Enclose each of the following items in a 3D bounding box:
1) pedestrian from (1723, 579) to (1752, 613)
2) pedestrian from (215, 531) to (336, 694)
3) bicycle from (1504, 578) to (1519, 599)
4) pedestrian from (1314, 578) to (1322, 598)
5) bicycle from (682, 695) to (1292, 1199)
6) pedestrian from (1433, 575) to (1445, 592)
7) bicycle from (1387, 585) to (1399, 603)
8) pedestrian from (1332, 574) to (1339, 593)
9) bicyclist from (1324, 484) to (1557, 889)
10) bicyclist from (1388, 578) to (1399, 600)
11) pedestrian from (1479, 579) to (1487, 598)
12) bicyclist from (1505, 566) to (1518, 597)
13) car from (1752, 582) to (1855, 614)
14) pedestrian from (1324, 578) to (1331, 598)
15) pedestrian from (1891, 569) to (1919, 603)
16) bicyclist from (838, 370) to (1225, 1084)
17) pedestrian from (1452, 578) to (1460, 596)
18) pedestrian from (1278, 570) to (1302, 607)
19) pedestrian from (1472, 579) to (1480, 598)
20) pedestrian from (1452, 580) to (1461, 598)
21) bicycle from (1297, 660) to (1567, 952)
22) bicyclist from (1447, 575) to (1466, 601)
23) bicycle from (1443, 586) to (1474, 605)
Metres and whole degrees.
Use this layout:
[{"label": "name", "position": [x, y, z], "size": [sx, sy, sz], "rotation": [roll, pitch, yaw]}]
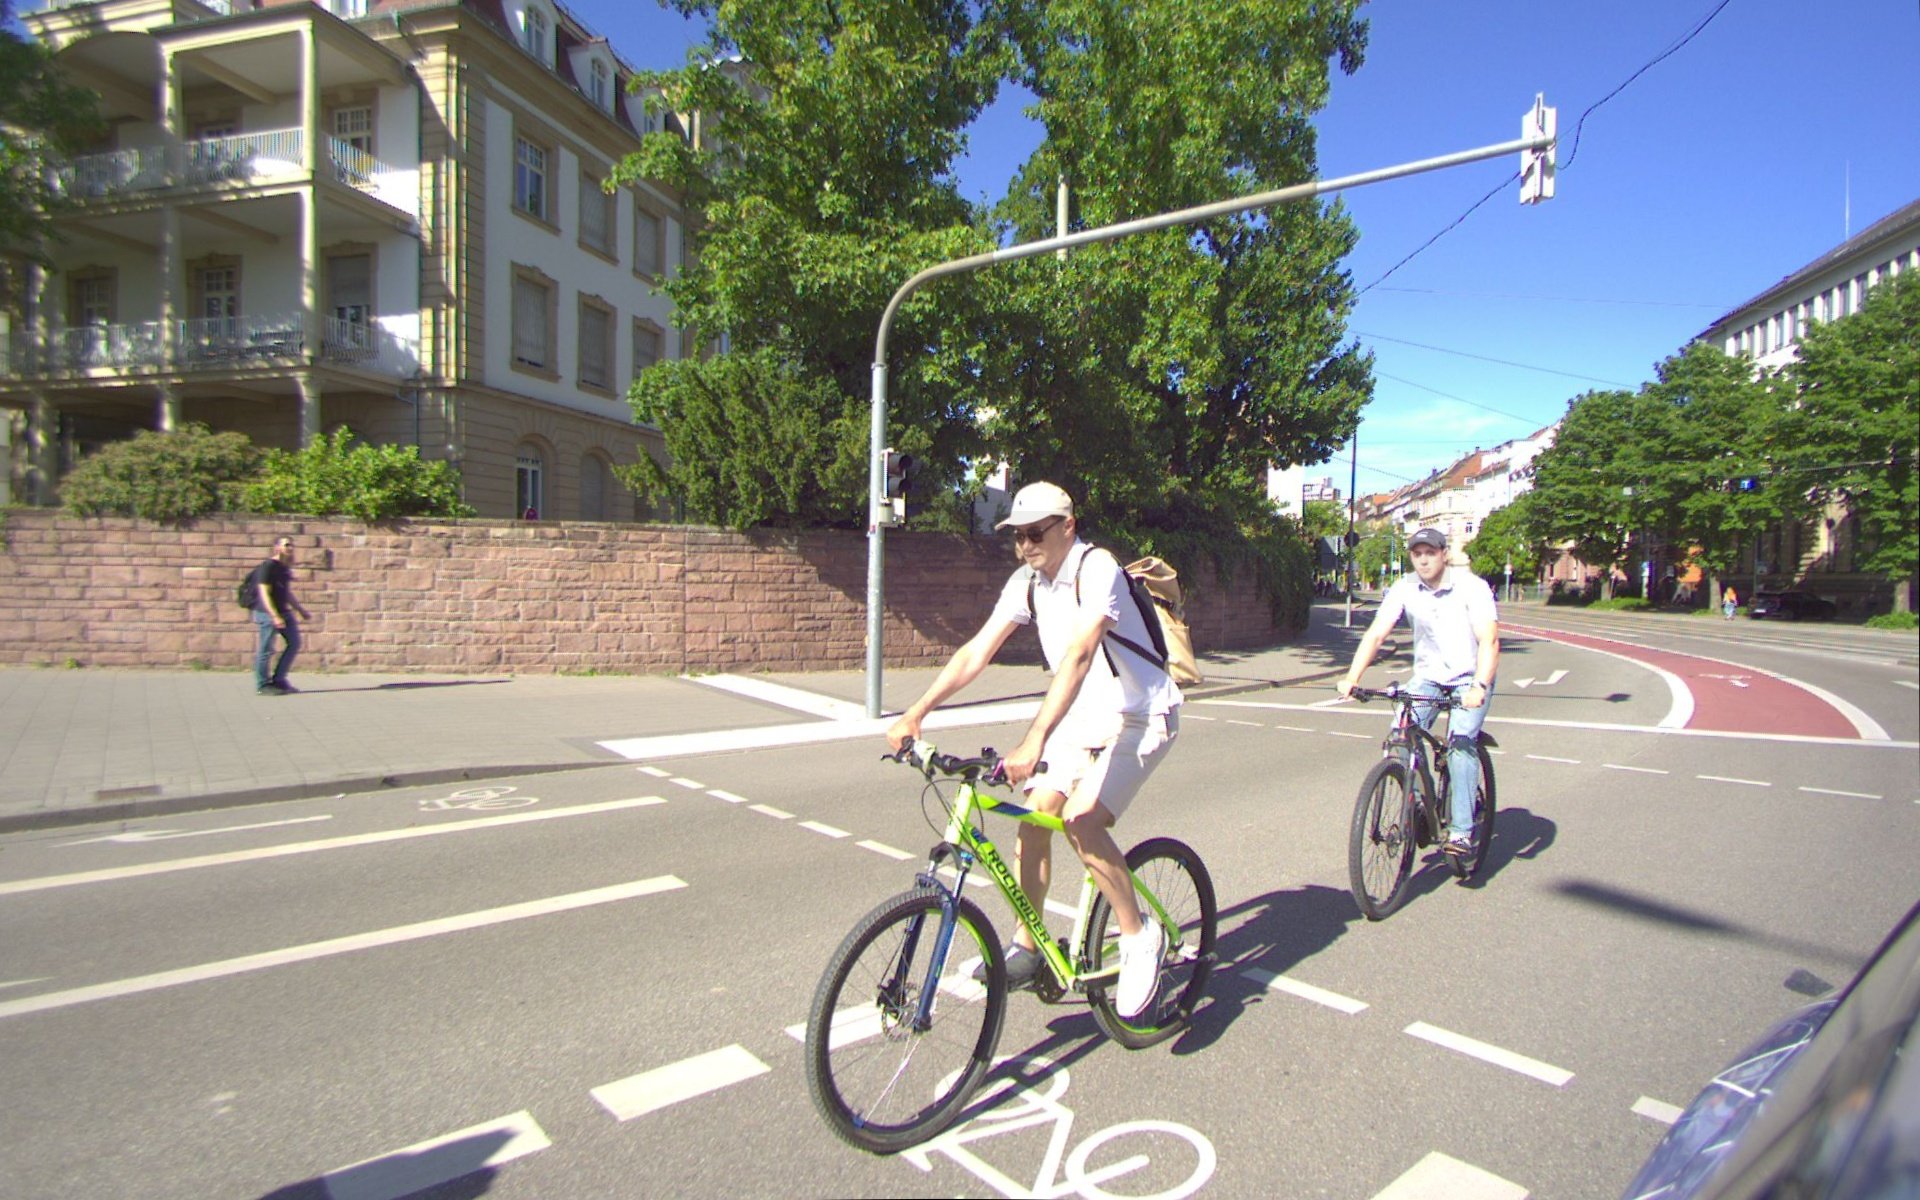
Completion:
[{"label": "pedestrian", "position": [40.641, -0.188, 52.926], "size": [0.760, 1.691, 1.030], "rotation": [3, -2, 11]}, {"label": "pedestrian", "position": [-8.146, 0.133, 12.086], "size": [1.027, 1.855, 0.762], "rotation": [1, 2, -19]}, {"label": "bicycle", "position": [53.636, -1.121, 98.393], "size": [0.996, 1.910, 3.850], "rotation": [0, 2, 32]}, {"label": "pedestrian", "position": [32.749, -1.136, 92.566], "size": [0.579, 1.828, 0.543], "rotation": [1, 1, 15]}, {"label": "bicycle", "position": [0.190, 0.903, 3.005], "size": [1.858, 1.060, 0.663], "rotation": [-1, 0, -42]}, {"label": "pedestrian", "position": [50.679, -1.749, 107.054], "size": [0.913, 1.760, 0.679], "rotation": [1, 1, -3]}, {"label": "bicycle", "position": [29.804, -0.432, 69.636], "size": [0.657, 1.166, 1.662], "rotation": [0, 2, 19]}, {"label": "pedestrian", "position": [34.187, -1.534, 92.169], "size": [0.579, 1.749, 0.518], "rotation": [1, 1, 15]}, {"label": "bicyclist", "position": [2.429, 0.372, 5.104], "size": [0.997, 1.798, 0.750], "rotation": [-1, 1, -43]}, {"label": "bicyclist", "position": [29.792, -0.768, 69.612], "size": [0.657, 1.479, 0.619], "rotation": [0, 1, 19]}, {"label": "pedestrian", "position": [52.868, -1.146, 102.243], "size": [0.571, 1.879, 0.681], "rotation": [1, 1, 16]}, {"label": "bicyclist", "position": [53.600, -1.826, 98.359], "size": [0.996, 3.012, 1.458], "rotation": [0, 2, 32]}, {"label": "car", "position": [43.272, -0.116, 51.964], "size": [4.024, 1.593, 1.925], "rotation": [0, 1, -12]}, {"label": "pedestrian", "position": [33.521, -1.125, 92.343], "size": [0.579, 1.828, 0.518], "rotation": [1, 1, 15]}, {"label": "pedestrian", "position": [45.663, -0.692, 48.815], "size": [0.662, 1.586, 0.856], "rotation": [-3, 1, 11]}, {"label": "bicyclist", "position": [0.231, 0.308, 3.088], "size": [0.988, 1.769, 0.664], "rotation": [0, 0, -41]}, {"label": "pedestrian", "position": [53.569, -1.417, 109.298], "size": [0.571, 1.879, 0.681], "rotation": [1, 1, 16]}, {"label": "pedestrian", "position": [15.947, -0.557, 48.975], "size": [0.927, 1.698, 0.950], "rotation": [3, 2, 14]}, {"label": "pedestrian", "position": [52.227, -1.142, 102.395], "size": [0.571, 1.879, 0.681], "rotation": [1, 1, 16]}, {"label": "pedestrian", "position": [53.567, -1.200, 109.206], "size": [0.719, 1.879, 0.650], "rotation": [1, 1, 18]}, {"label": "bicycle", "position": [2.427, 0.916, 5.095], "size": [1.799, 1.090, 0.611], "rotation": [-1, 1, -43]}, {"label": "bicyclist", "position": [31.327, -0.736, 63.869], "size": [0.865, 1.602, 0.743], "rotation": [-1, 1, 8]}, {"label": "bicycle", "position": [31.439, -0.277, 63.860], "size": [1.572, 1.166, 0.743], "rotation": [-1, 1, 9]}]
